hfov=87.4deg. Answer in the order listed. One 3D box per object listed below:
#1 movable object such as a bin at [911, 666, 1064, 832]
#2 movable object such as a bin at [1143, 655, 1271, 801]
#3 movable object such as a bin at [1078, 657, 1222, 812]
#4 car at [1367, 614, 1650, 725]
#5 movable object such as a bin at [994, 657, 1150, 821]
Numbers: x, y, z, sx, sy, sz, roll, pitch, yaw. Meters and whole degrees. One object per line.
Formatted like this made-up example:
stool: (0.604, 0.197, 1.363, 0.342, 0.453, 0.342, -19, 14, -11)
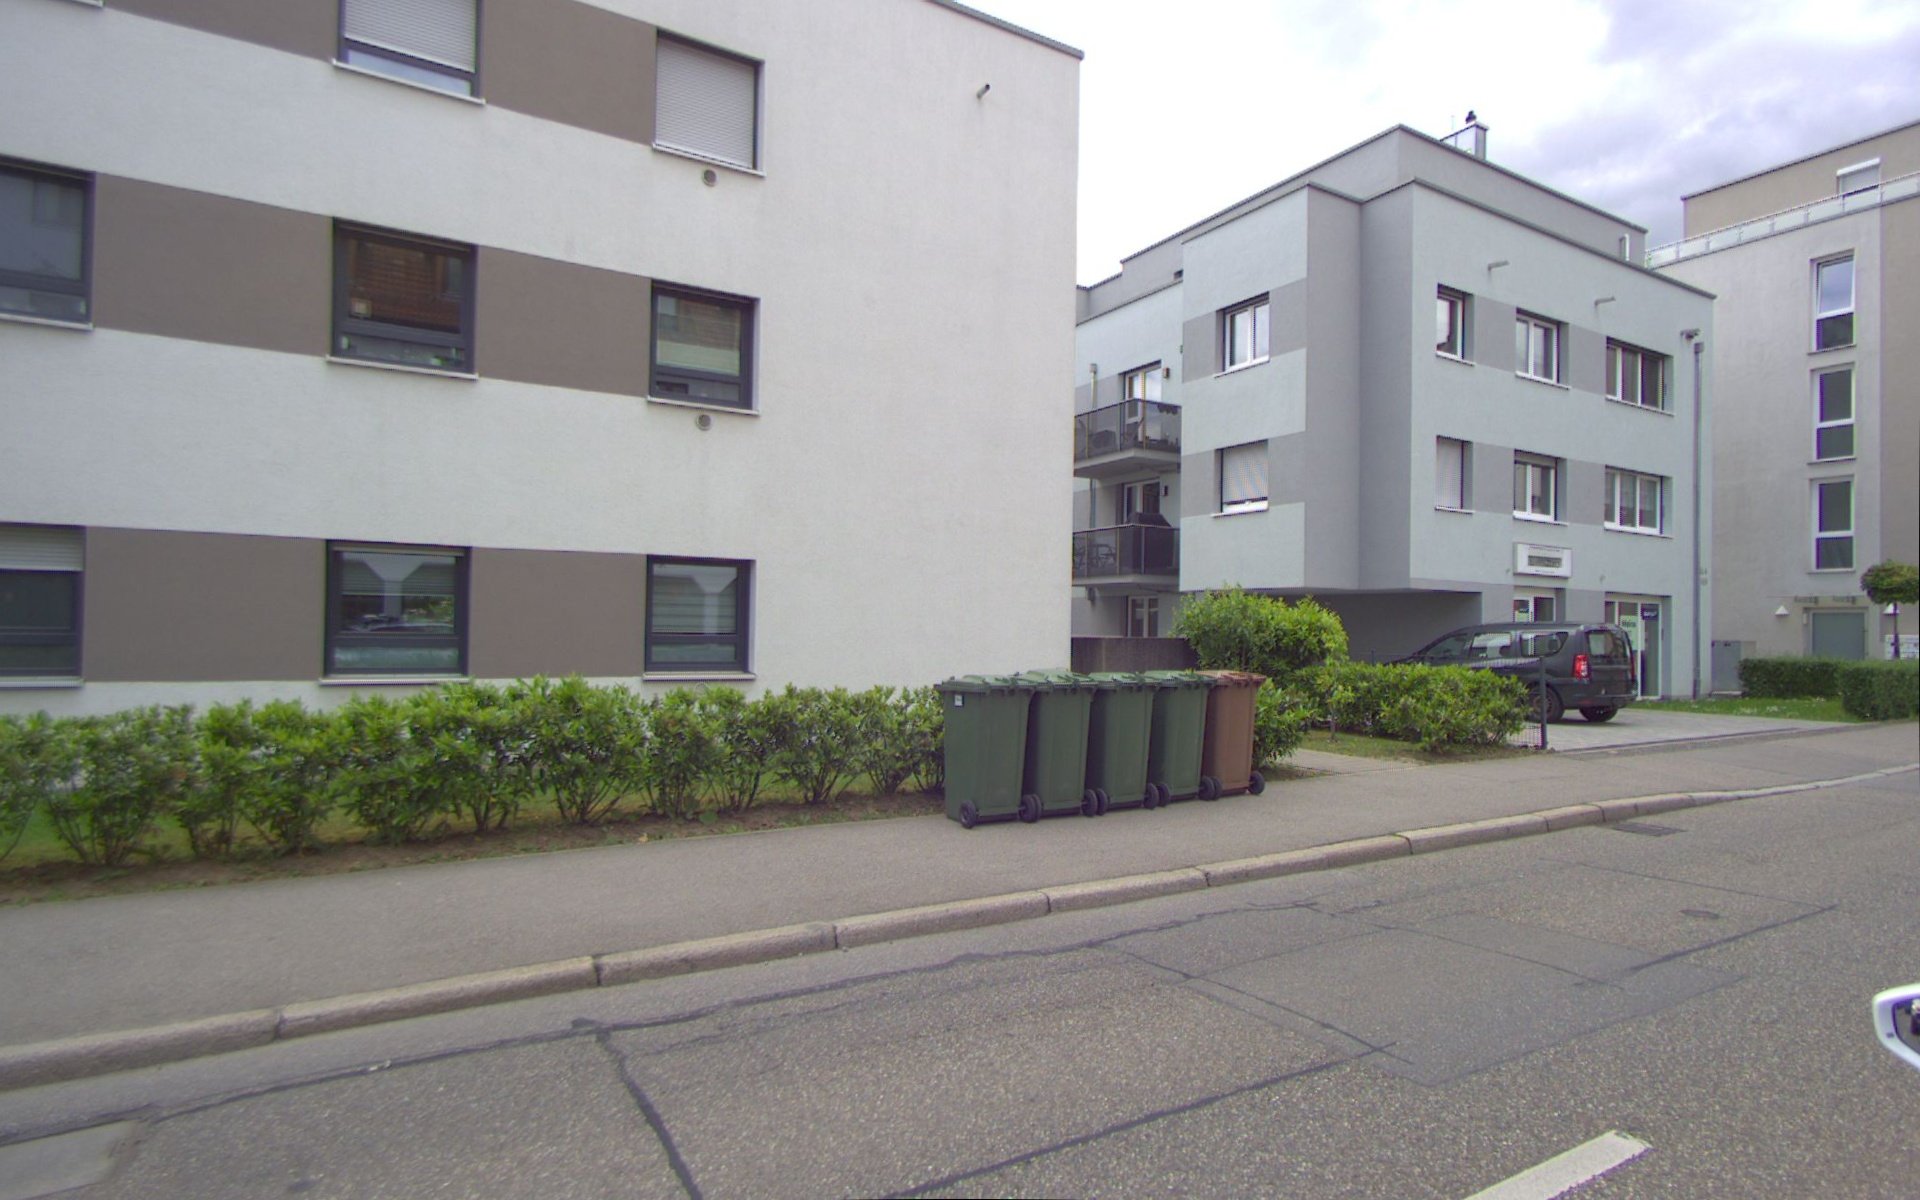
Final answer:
movable object such as a bin: (0.196, 1.077, 7.580, 0.785, 1.103, 0.889, 1, -1, -34)
movable object such as a bin: (2.166, 1.086, 8.857, 0.606, 1.166, 0.935, 1, -1, -34)
movable object such as a bin: (1.590, 1.087, 8.474, 0.741, 1.166, 0.942, 1, -1, -34)
car: (9.388, 1.122, 17.570, 1.702, 1.689, 4.150, 2, -2, -26)
movable object such as a bin: (0.886, 1.059, 8.049, 0.832, 1.166, 0.950, 1, -1, -34)
